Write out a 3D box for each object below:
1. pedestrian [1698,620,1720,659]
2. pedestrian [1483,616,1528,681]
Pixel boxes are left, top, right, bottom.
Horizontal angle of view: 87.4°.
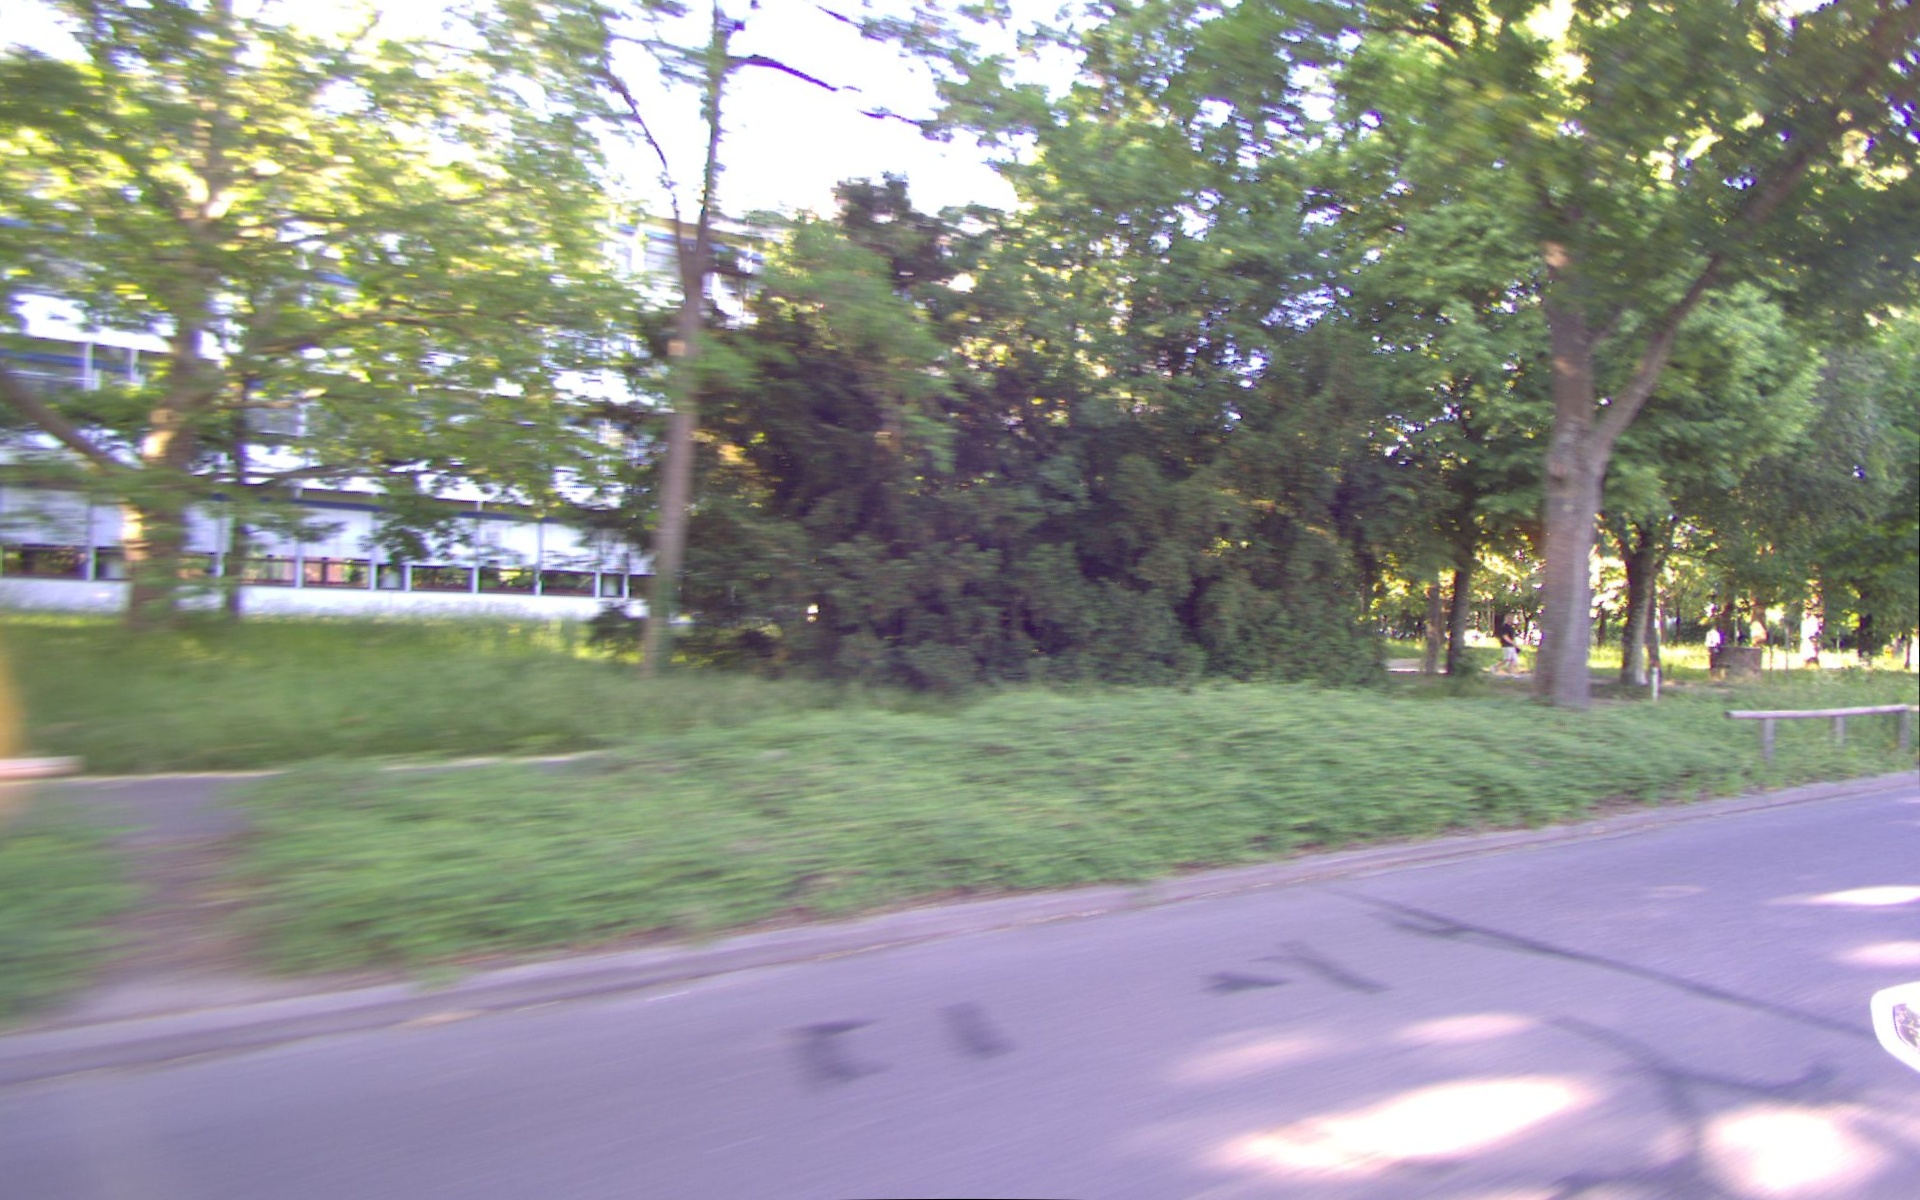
[{"bbox_3d":[40.429,2.110,54.237,0.584,2.040,0.751,3,0,-34],"label":"pedestrian"},{"bbox_3d":[15.984,1.400,29.434,0.713,1.845,0.898,2,0,-33],"label":"pedestrian"}]
